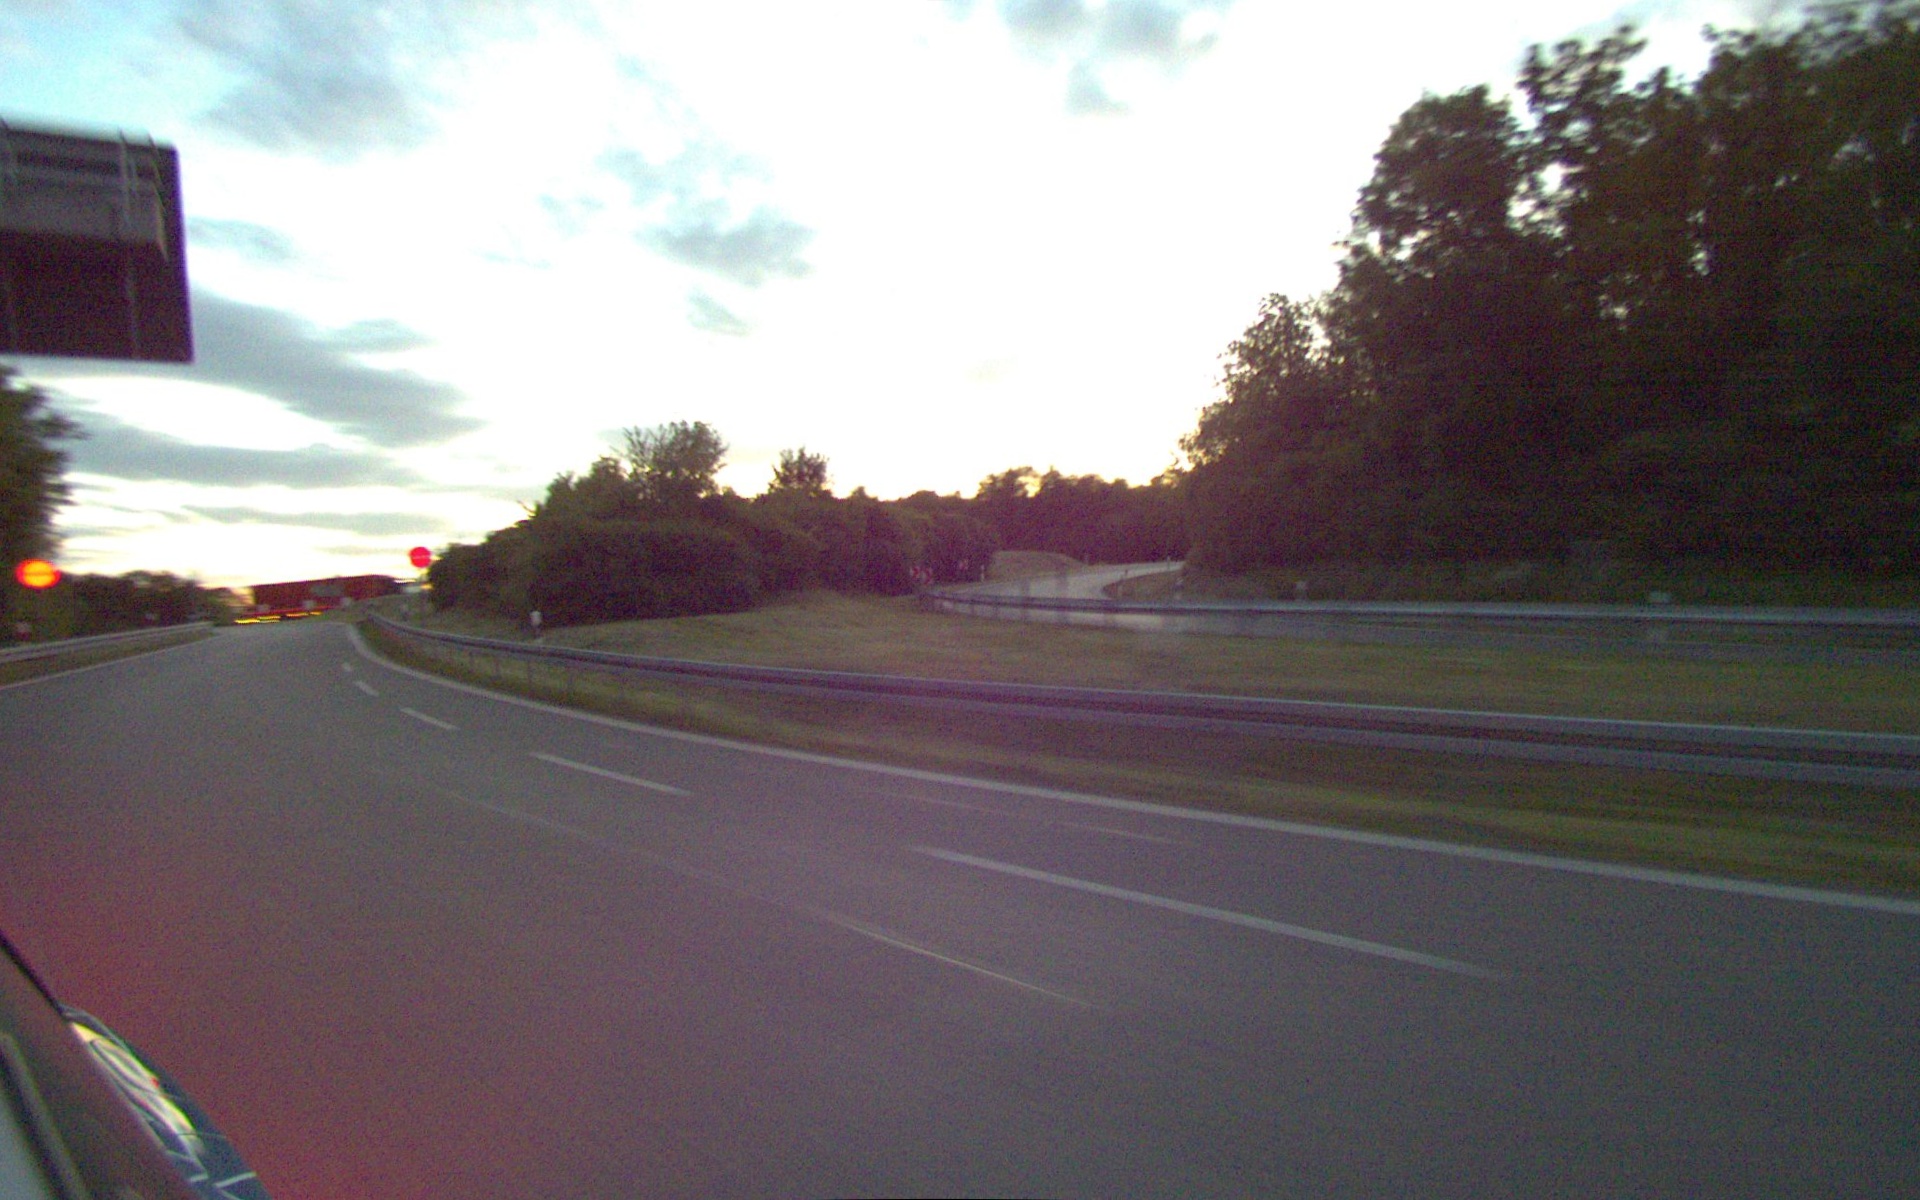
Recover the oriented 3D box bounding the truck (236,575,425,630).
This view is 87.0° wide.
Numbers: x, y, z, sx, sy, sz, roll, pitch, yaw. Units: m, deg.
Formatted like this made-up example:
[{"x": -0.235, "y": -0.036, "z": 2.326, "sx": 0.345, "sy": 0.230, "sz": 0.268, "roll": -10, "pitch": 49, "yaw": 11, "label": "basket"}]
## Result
[{"x": -60.347, "y": 0.201, "z": 97.154, "sx": 16.791, "sy": 4.703, "sz": 2.522, "roll": -2, "pitch": 1, "yaw": 3, "label": "truck"}]
